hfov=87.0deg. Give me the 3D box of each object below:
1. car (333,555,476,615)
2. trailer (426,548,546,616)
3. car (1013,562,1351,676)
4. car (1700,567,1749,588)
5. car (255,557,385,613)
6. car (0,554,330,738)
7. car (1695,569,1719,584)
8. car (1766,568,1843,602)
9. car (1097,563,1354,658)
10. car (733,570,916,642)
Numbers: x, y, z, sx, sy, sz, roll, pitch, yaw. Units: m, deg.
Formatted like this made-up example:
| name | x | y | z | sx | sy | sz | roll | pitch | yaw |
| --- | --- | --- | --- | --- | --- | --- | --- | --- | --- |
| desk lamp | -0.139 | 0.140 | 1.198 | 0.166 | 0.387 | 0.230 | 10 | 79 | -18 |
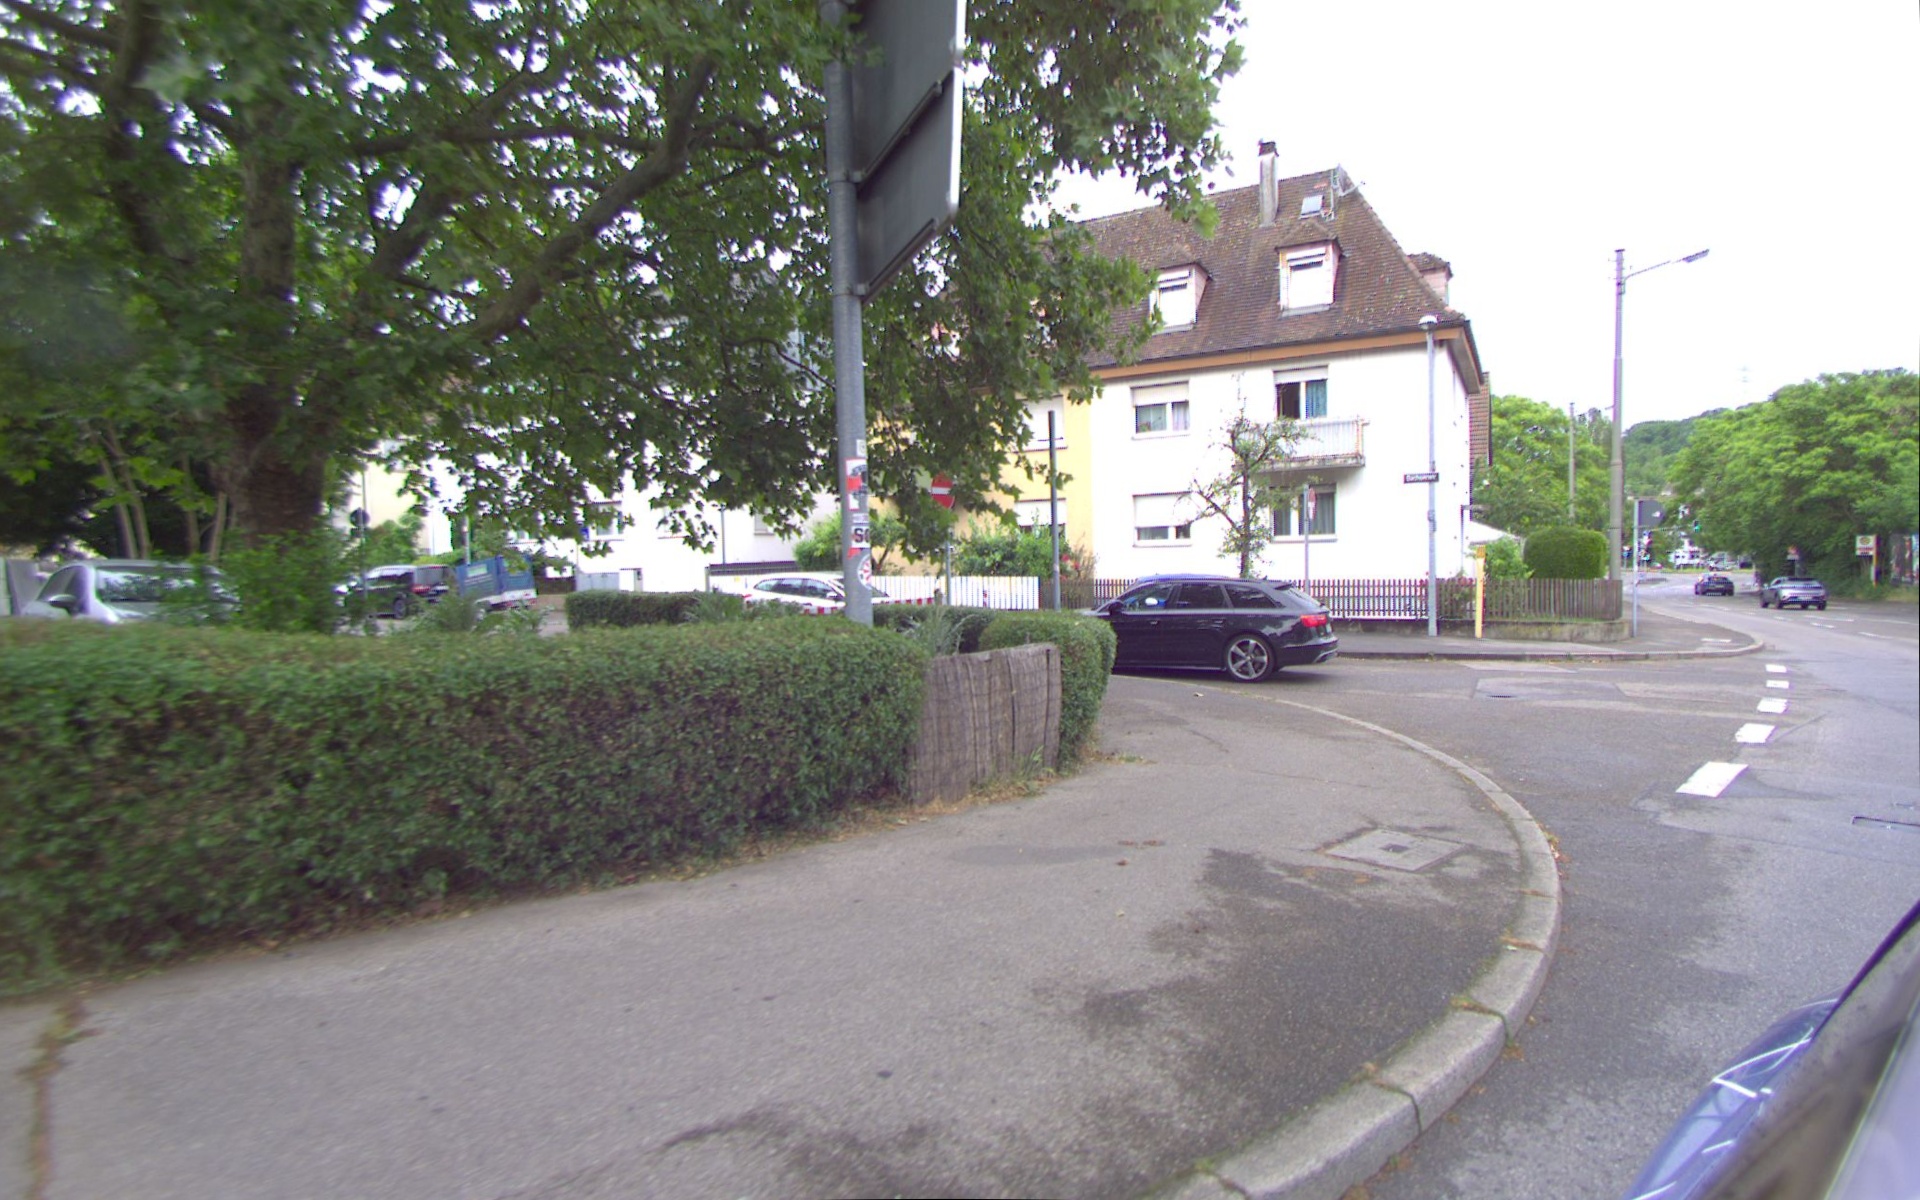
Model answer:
| name | x | y | z | sx | sy | sz | roll | pitch | yaw |
| --- | --- | --- | --- | --- | --- | --- | --- | --- | --- |
| car | -18.330 | -0.537 | 33.372 | 4.537 | 1.862 | 1.981 | 1 | 2 | 28 |
| trailer | -14.767 | -0.579 | 31.525 | 3.457 | 2.038 | 1.657 | 1 | 1 | 27 |
| car | 3.360 | 0.194 | 15.500 | 4.769 | 1.498 | 1.869 | 1 | 2 | 26 |
| car | 56.070 | -1.665 | 74.337 | 1.981 | 1.461 | 4.730 | 4 | 3 | 27 |
| car | -22.871 | -0.569 | 36.137 | 4.537 | 1.862 | 1.981 | 1 | 2 | 28 |
| car | -8.512 | 0.342 | 10.665 | 3.975 | 1.599 | 1.800 | 1 | 2 | 35 |
| car | 76.134 | -2.382 | 103.150 | 1.668 | 1.486 | 3.723 | 2 | 2 | 42 |
| car | 38.936 | -0.721 | 46.780 | 1.883 | 1.479 | 3.963 | 1 | 2 | 27 |
| car | 4.704 | 0.109 | 18.089 | 4.096 | 1.498 | 1.864 | 2 | 2 | 33 |
| car | -3.021 | 0.080 | 22.424 | 3.753 | 1.471 | 1.753 | 1 | 1 | 30 |
